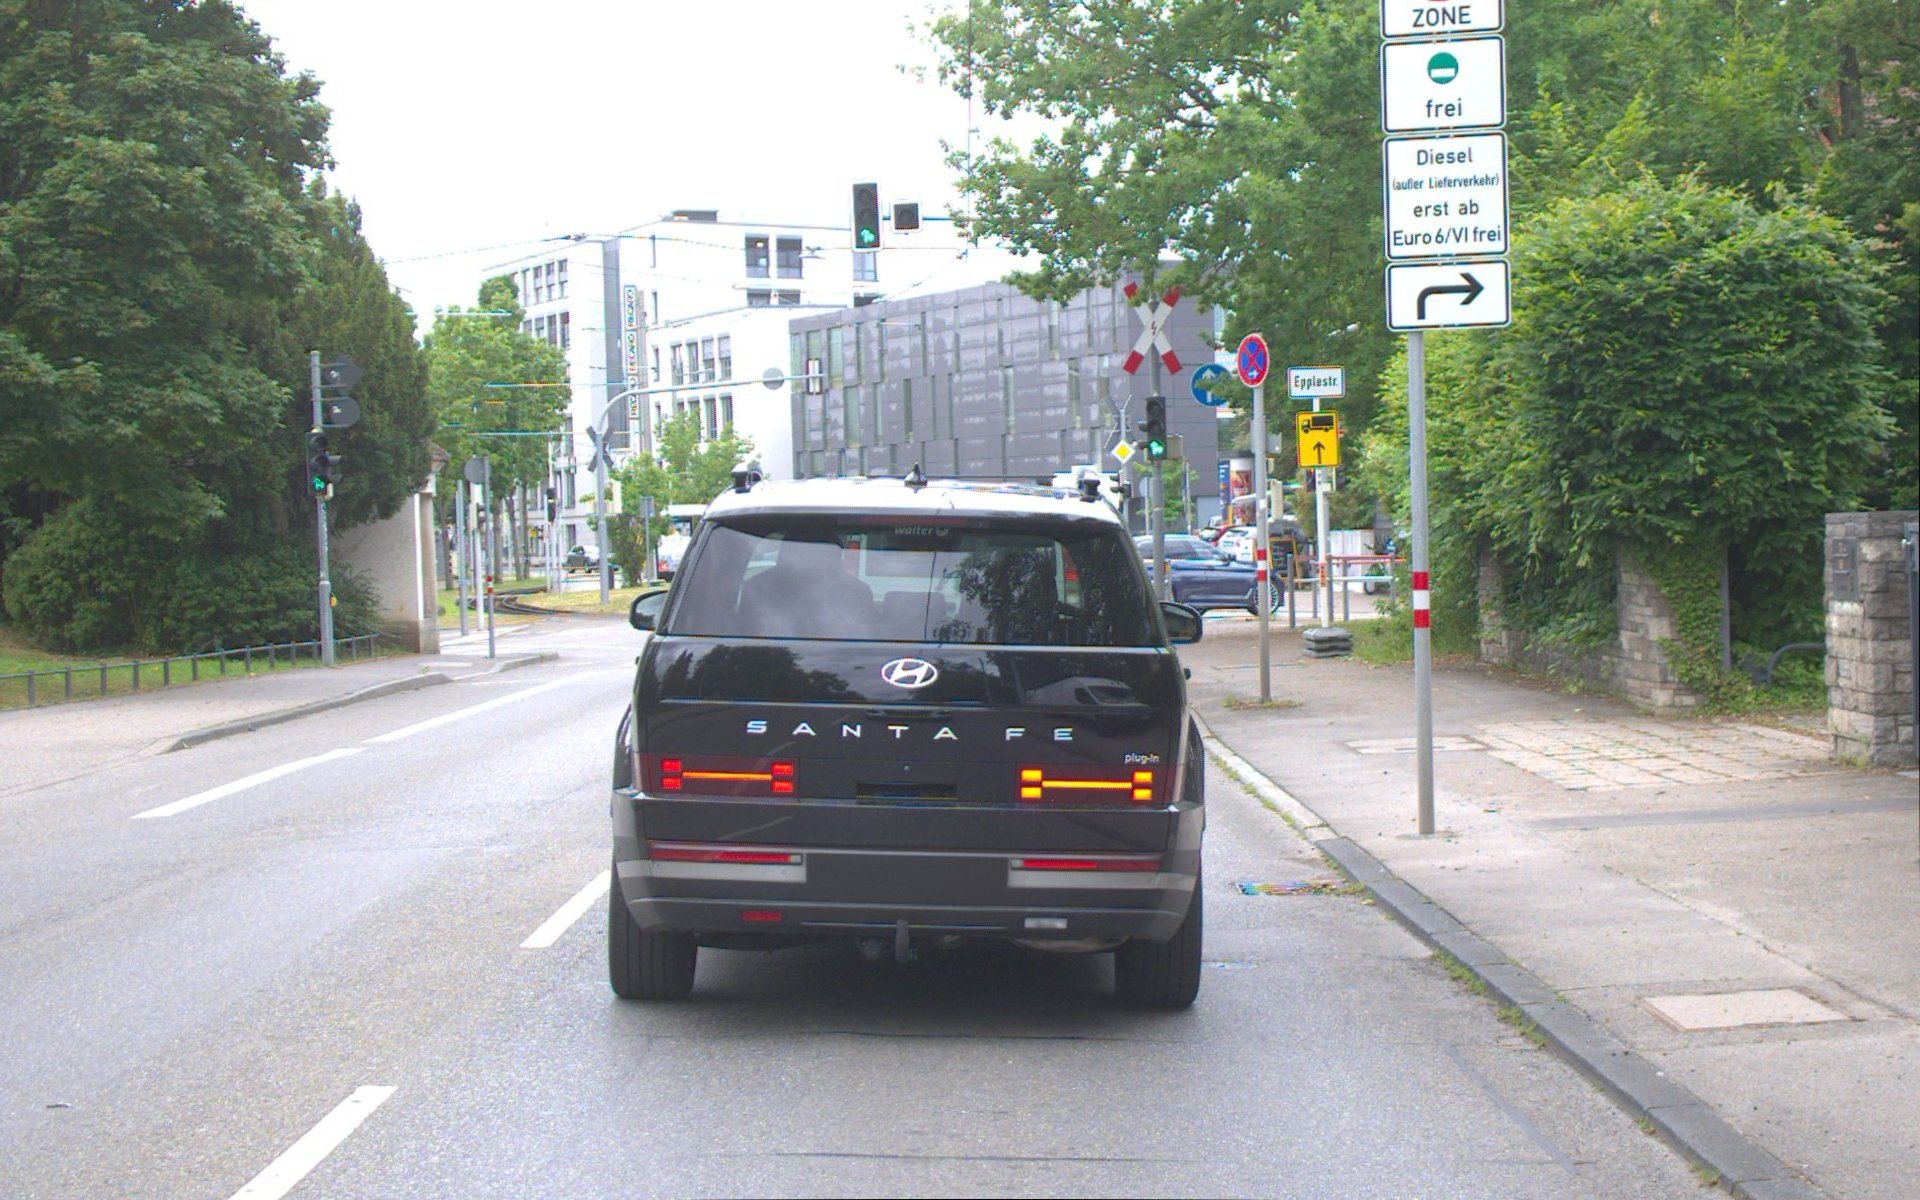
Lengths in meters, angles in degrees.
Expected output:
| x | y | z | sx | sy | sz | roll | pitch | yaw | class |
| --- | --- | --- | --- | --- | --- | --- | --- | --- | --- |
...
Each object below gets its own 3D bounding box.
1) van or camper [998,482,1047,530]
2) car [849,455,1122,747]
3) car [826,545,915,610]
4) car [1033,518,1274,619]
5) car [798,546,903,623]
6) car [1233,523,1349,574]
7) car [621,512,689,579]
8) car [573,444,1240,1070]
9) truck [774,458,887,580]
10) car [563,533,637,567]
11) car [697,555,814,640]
| x | y | z | sx | sy | sz | roll | pitch | yaw | class |
| --- | --- | --- | --- | --- | --- | --- | --- | --- | --- |
| 2.733 | -4.118 | 150.754 | 1.795 | 1.992 | 3.824 | 2 | 1 | -3 | van or camper |
| 0.190 | -0.018 | 26.635 | 1.897 | 2.035 | 3.994 | 2 | 1 | 0 | car |
| -2.370 | -0.599 | 90.295 | 1.883 | 1.633 | 3.899 | -1 | 1 | -8 | car |
| 3.399 | -0.565 | 59.842 | 1.872 | 1.654 | 4.285 | -1 | 1 | 42 | car |
| -2.470 | -0.368 | 76.585 | 1.883 | 1.633 | 3.899 | -1 | 1 | -8 | car |
| 10.804 | -1.681 | 112.472 | 3.690 | 1.578 | 1.687 | -1 | 1 | 4 | car |
| -10.890 | -1.937 | 122.485 | 2.332 | 2.307 | 4.959 | -1 | 1 | -5 | car |
| -0.150 | 0.435 | 12.038 | 1.897 | 1.770 | 3.994 | 2 | 1 | 0 | car |
| -4.402 | -2.655 | 114.547 | 3.107 | 3.846 | 9.623 | -1 | 1 | -6 | truck |
| -20.016 | -2.774 | 191.041 | 1.992 | 1.831 | 4.599 | -2 | 1 | -36 | car |
| -3.645 | -0.068 | 60.809 | 1.883 | 1.415 | 4.001 | -1 | 1 | -5 | car |
